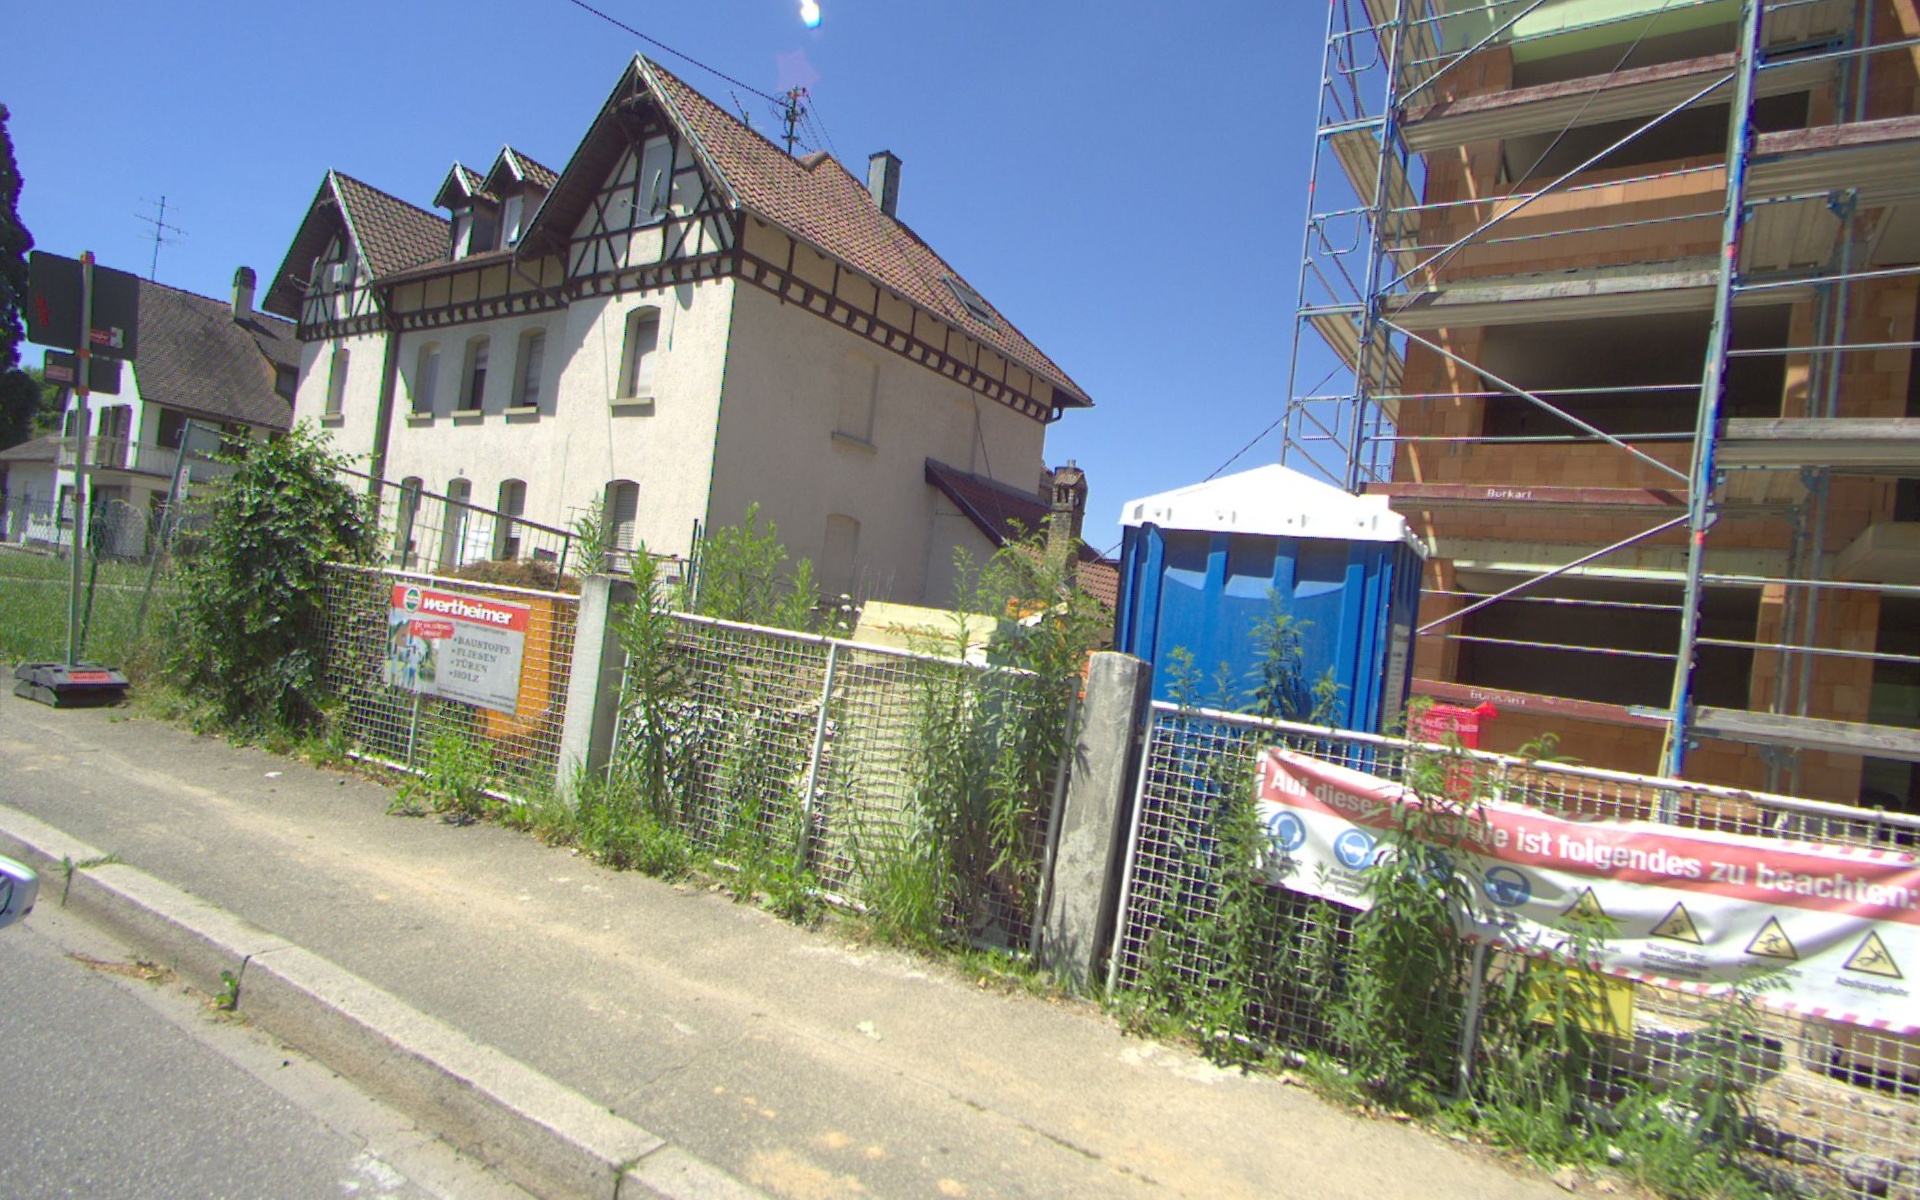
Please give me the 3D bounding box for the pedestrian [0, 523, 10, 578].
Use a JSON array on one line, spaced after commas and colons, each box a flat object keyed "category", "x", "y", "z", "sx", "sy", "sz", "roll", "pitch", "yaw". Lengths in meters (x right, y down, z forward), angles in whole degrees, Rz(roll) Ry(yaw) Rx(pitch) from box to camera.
[{"category": "pedestrian", "x": -29.099, "y": -1.533, "z": 30.106, "sx": 0.563, "sy": 1.619, "sz": 0.697, "roll": 7, "pitch": 0, "yaw": 27}]
